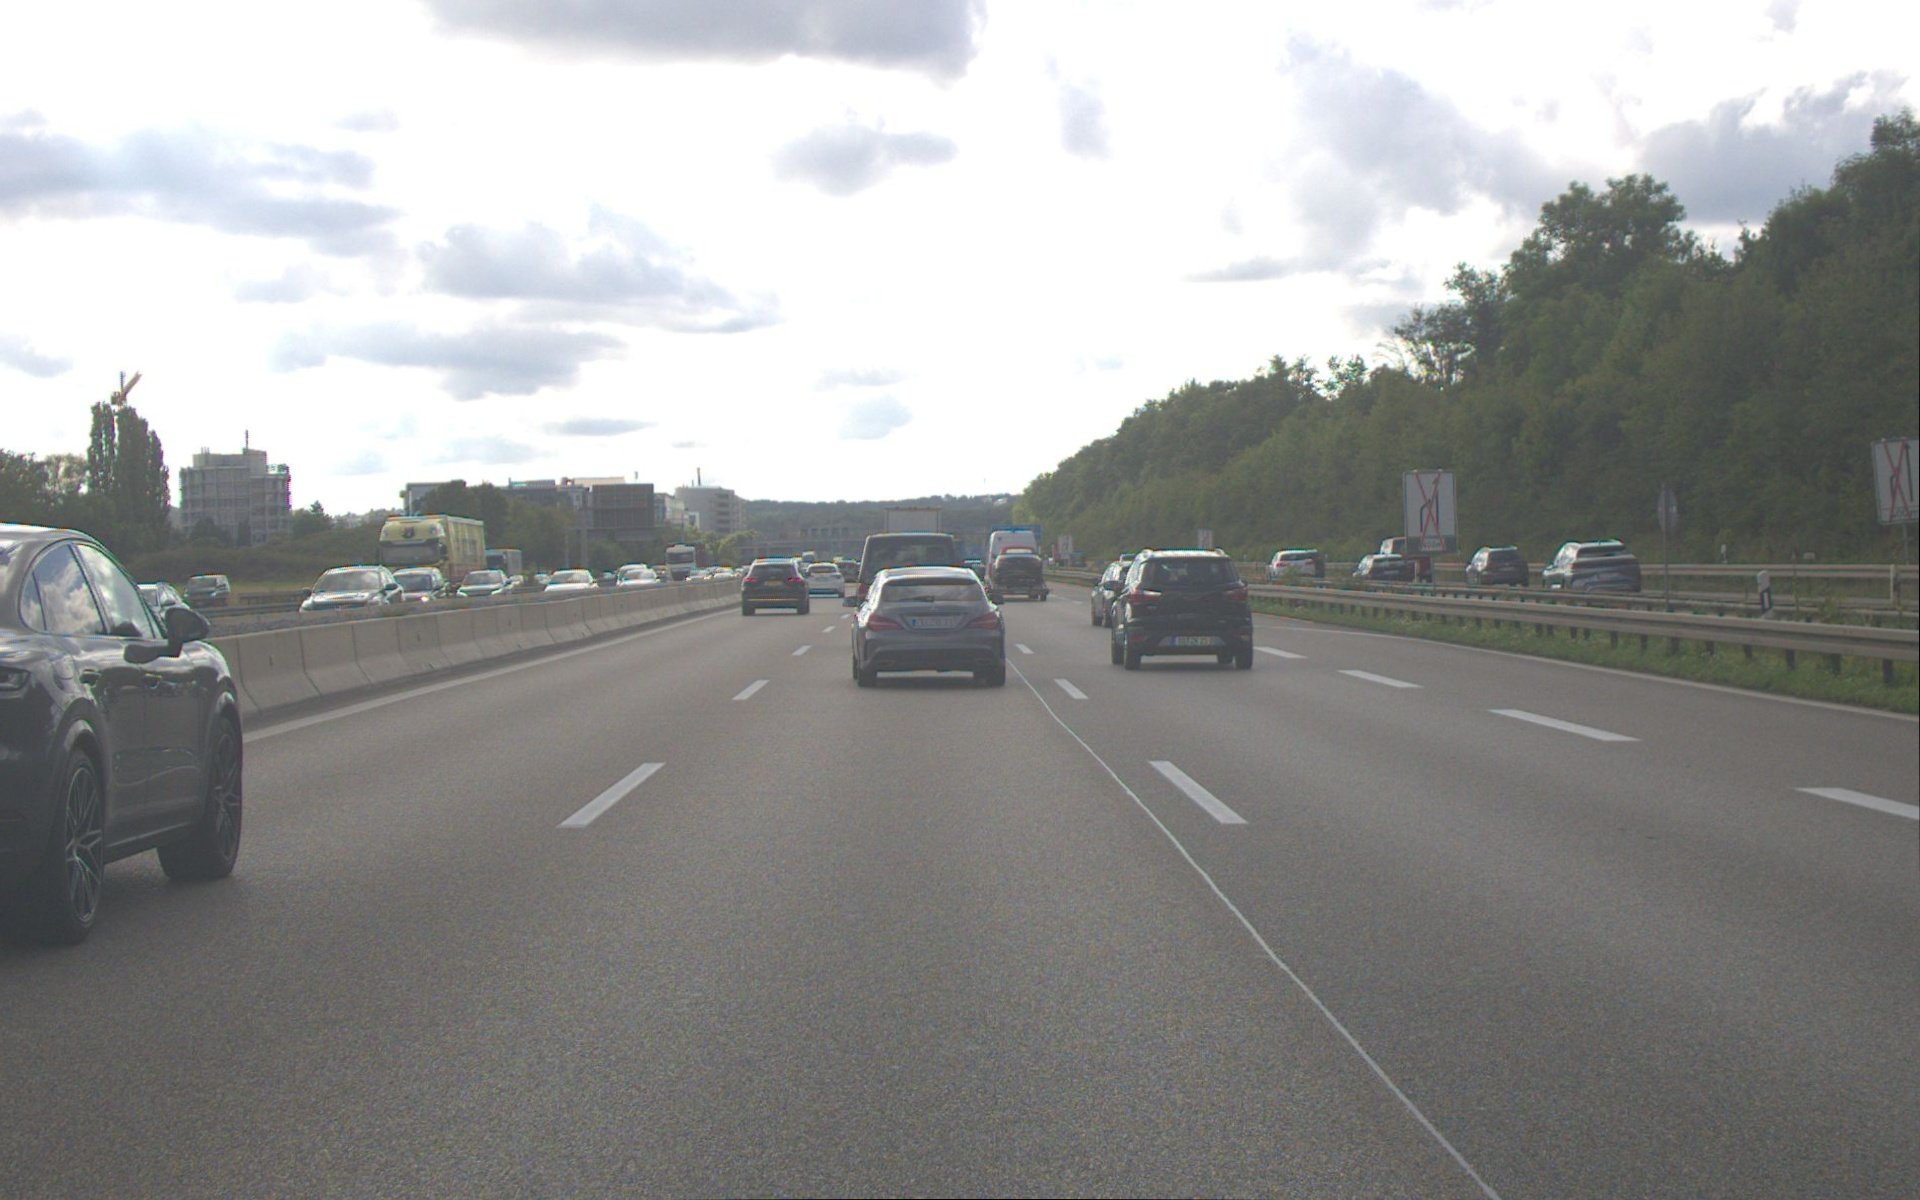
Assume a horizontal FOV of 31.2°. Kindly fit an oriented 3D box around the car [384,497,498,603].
[{"bbox_3d":[-22.495,-2.232,149.742,2.905,4.310,14.147,-2,1,-1],"label":"car"}]

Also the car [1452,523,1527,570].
[{"bbox_3d":[18.768,-1.908,121.995,1.728,1.540,4.306,-3,1,-2],"label":"car"}]

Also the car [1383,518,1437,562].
[{"bbox_3d":[18.958,-2.541,144.928,1.595,1.797,3.825,-1,1,-2],"label":"car"}]

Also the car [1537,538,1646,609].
[{"bbox_3d":[16.146,-0.693,88.050,1.846,1.644,4.306,-3,1,-1],"label":"car"}]

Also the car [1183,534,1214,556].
[{"bbox_3d":[17.151,-3.972,247.448,1.752,1.511,4.191,-1,1,-2],"label":"car"}]

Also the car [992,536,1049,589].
[{"bbox_3d":[2.231,-1.403,127.549,1.913,1.912,4.031,-1,1,-1],"label":"car"}]

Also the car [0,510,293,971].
[{"bbox_3d":[-4.353,0.460,14.903,1.912,1.630,5.501,-1,1,-1],"label":"car"}]

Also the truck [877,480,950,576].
[{"bbox_3d":[-2.201,-3.365,161.184,3.263,4.360,11.027,0,1,-1],"label":"truck"}]

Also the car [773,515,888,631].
[{"bbox_3d":[-2.196,-0.491,59.368,1.855,1.904,4.260,-1,1,-1],"label":"car"}]

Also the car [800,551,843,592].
[{"bbox_3d":[-5.692,-1.198,141.477,1.697,1.605,4.114,-1,1,-1],"label":"car"}]

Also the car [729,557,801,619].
[{"bbox_3d":[-5.565,-0.373,98.508,1.873,1.692,4.072,-1,1,-1],"label":"car"}]

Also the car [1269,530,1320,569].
[{"bbox_3d":[15.013,-2.253,154.499,1.752,1.689,4.190,-1,1,-1],"label":"car"}]

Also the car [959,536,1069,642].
[{"bbox_3d":[0.894,-0.225,59.087,1.720,1.718,4.392,-1,1,-1],"label":"car"}]

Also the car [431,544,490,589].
[{"bbox_3d":[-18.393,-1.248,126.784,1.594,1.605,4.464,-1,1,-1],"label":"car"}]

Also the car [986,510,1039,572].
[{"bbox_3d":[2.037,-2.328,134.397,1.873,2.349,4.282,-1,1,-1],"label":"car"}]

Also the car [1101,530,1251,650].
[{"bbox_3d":[2.980,-0.173,48.045,1.697,1.559,4.114,-1,1,-1],"label":"car"}]

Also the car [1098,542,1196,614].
[{"bbox_3d":[4.128,-0.514,76.463,1.832,1.516,4.225,-1,1,-1],"label":"car"}]

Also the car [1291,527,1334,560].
[{"bbox_3d":[18.594,-2.980,181.607,1.752,1.689,4.190,-1,1,-1],"label":"car"}]

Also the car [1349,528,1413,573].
[{"bbox_3d":[15.118,-1.783,123.681,1.595,1.540,4.191,-1,1,-2],"label":"car"}]

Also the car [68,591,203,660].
[{"bbox_3d":[-17.331,0.518,72.465,1.771,1.290,4.676,-1,1,-1],"label":"car"}]

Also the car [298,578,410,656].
[{"bbox_3d":[-13.484,0.357,76.695,1.771,1.605,4.466,-1,1,-1],"label":"car"}]

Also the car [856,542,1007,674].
[{"bbox_3d":[-0.369,0.057,42.137,1.720,1.474,4.392,-1,1,-1],"label":"car"}]

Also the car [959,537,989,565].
[{"bbox_3d":[0.872,-3.100,217.510,1.752,1.689,4.190,-1,1,-1],"label":"car"}]

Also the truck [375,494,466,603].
[{"bbox_3d":[-22.367,-2.150,142.740,2.896,4.308,5.162,-2,1,-1],"label":"truck"}]
